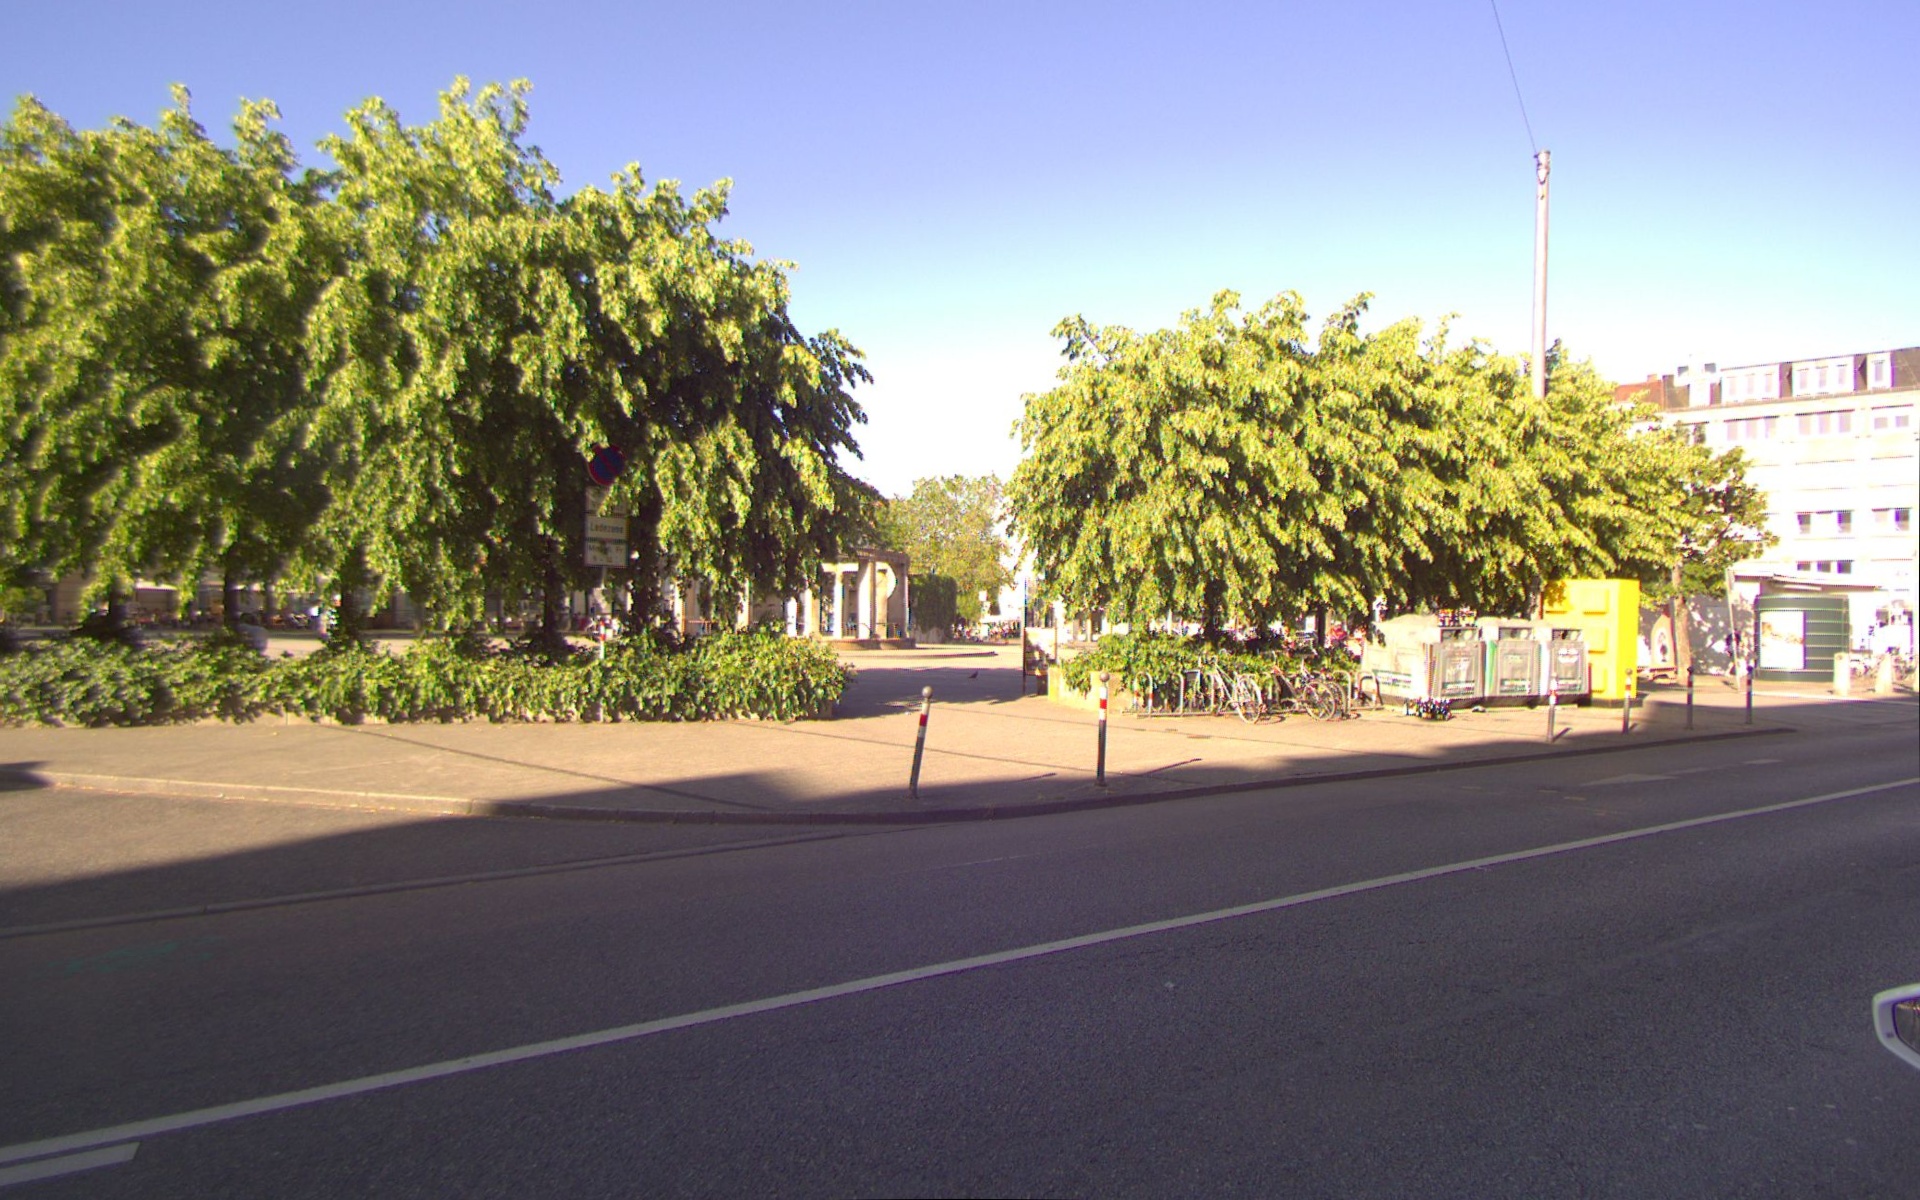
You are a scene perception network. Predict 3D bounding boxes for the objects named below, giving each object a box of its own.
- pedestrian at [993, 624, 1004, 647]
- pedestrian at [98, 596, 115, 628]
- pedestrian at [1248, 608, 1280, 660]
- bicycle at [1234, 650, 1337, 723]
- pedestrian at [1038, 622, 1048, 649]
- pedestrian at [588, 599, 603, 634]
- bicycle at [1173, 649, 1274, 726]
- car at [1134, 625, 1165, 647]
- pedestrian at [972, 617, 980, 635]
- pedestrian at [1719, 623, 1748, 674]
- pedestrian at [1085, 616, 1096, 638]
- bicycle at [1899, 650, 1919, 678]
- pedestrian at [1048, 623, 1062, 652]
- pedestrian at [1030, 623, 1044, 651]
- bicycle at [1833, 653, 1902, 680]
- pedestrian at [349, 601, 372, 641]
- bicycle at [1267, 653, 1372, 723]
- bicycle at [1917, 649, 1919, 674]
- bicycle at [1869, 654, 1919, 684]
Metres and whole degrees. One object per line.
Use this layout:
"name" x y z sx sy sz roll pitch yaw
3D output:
"pedestrian" 3.424 3.155 90.048 0.860 2.040 0.902 2 0 -5
"pedestrian" -48.146 0.673 56.647 0.600 1.744 0.643 2 0 45
"pedestrian" 12.132 1.360 40.115 0.875 2.040 0.896 1 0 -17
"bicycle" 5.234 1.367 16.287 0.508 1.016 1.923 2 0 -20
"pedestrian" 6.354 2.713 76.948 0.628 1.974 0.676 2 0 -7
"pedestrian" -21.271 0.951 58.563 0.669 1.974 0.634 2 0 -33
"bicycle" 4.068 1.329 15.647 0.508 1.029 1.930 2 0 -19
"car" 12.834 2.417 68.226 1.658 1.405 3.575 1 -1 5
"pedestrian" 1.778 2.863 112.449 0.629 1.974 0.675 2 0 -14
"pedestrian" 26.949 1.686 35.001 0.700 1.739 0.474 2 0 -21
"pedestrian" 12.925 2.665 99.593 0.860 2.199 0.902 2 0 -5
"bicycle" 35.003 2.331 36.020 0.599 0.946 1.854 2 0 -30
"pedestrian" 7.026 2.763 74.223 0.860 2.040 0.902 2 0 -5
"pedestrian" 5.777 2.732 75.215 0.860 2.040 0.902 2 0 -5
"bicycle" 30.817 2.246 34.121 0.600 0.802 1.634 2 0 -33
"pedestrian" -26.578 0.918 44.546 0.599 1.744 0.644 2 0 37
"bicycle" 5.824 1.404 16.409 0.508 0.968 1.898 2 0 -20
"bicycle" 37.010 2.338 37.444 0.599 0.946 1.854 2 0 -30
"bicycle" 33.145 2.410 35.164 0.599 0.946 1.854 2 0 -30
